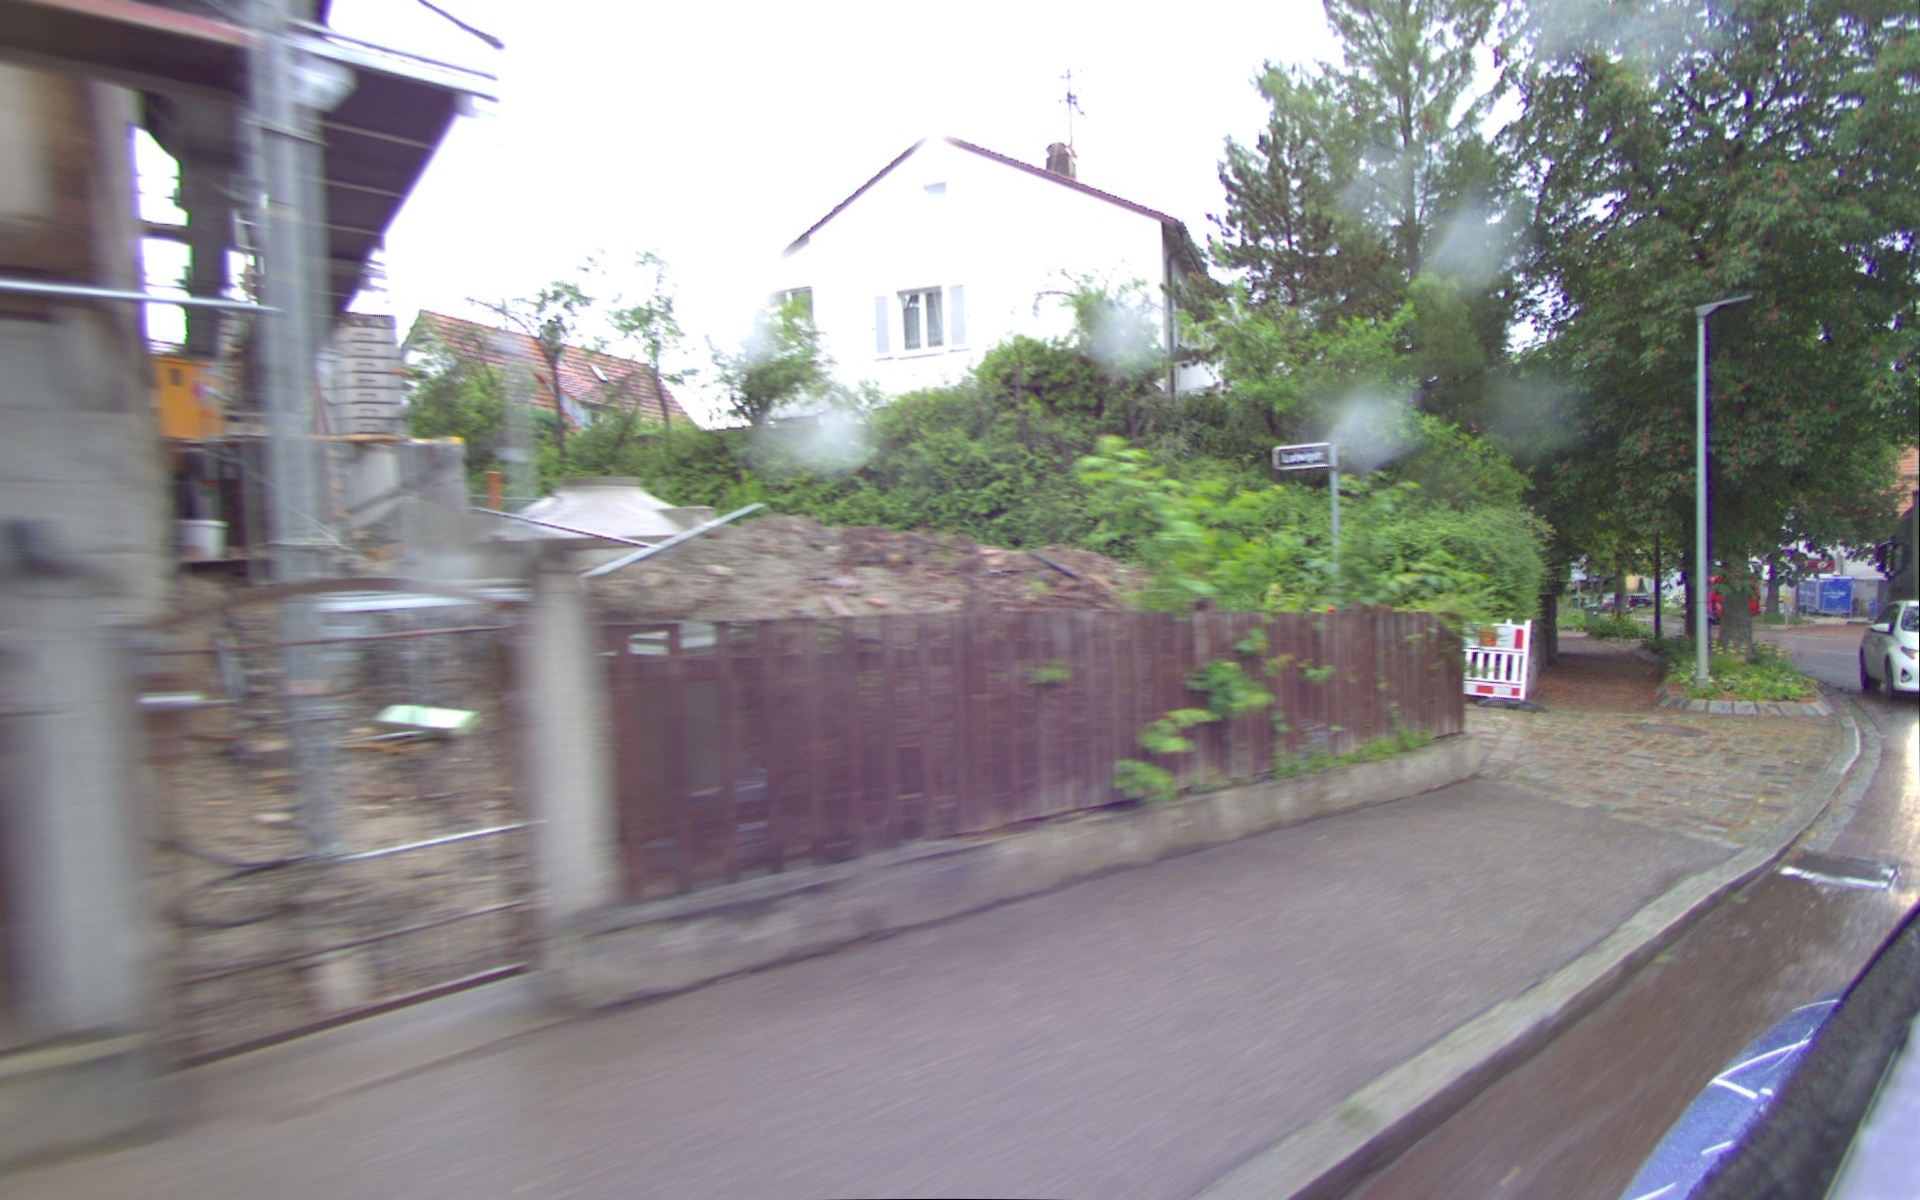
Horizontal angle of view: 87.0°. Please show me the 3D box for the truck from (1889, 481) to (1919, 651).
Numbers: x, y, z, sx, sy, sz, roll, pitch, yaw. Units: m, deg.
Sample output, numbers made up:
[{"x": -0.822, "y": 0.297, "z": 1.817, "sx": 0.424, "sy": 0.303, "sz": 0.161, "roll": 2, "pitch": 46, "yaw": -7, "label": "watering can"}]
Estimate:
[{"x": 22.449, "y": -0.780, "z": 20.389, "sx": 2.830, "sy": 4.018, "sz": 10.330, "roll": 0, "pitch": 0, "yaw": 27, "label": "truck"}]

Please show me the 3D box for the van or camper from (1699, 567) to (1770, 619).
[{"x": 39.512, "y": -0.375, "z": 51.726, "sx": 1.980, "sy": 2.565, "sz": 4.701, "roll": 0, "pitch": 1, "yaw": 26, "label": "van or camper"}]

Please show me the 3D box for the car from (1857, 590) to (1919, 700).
[{"x": 14.893, "y": 0.587, "z": 15.021, "sx": 1.848, "sy": 1.453, "sz": 3.967, "roll": -2, "pitch": 0, "yaw": 35, "label": "car"}]
